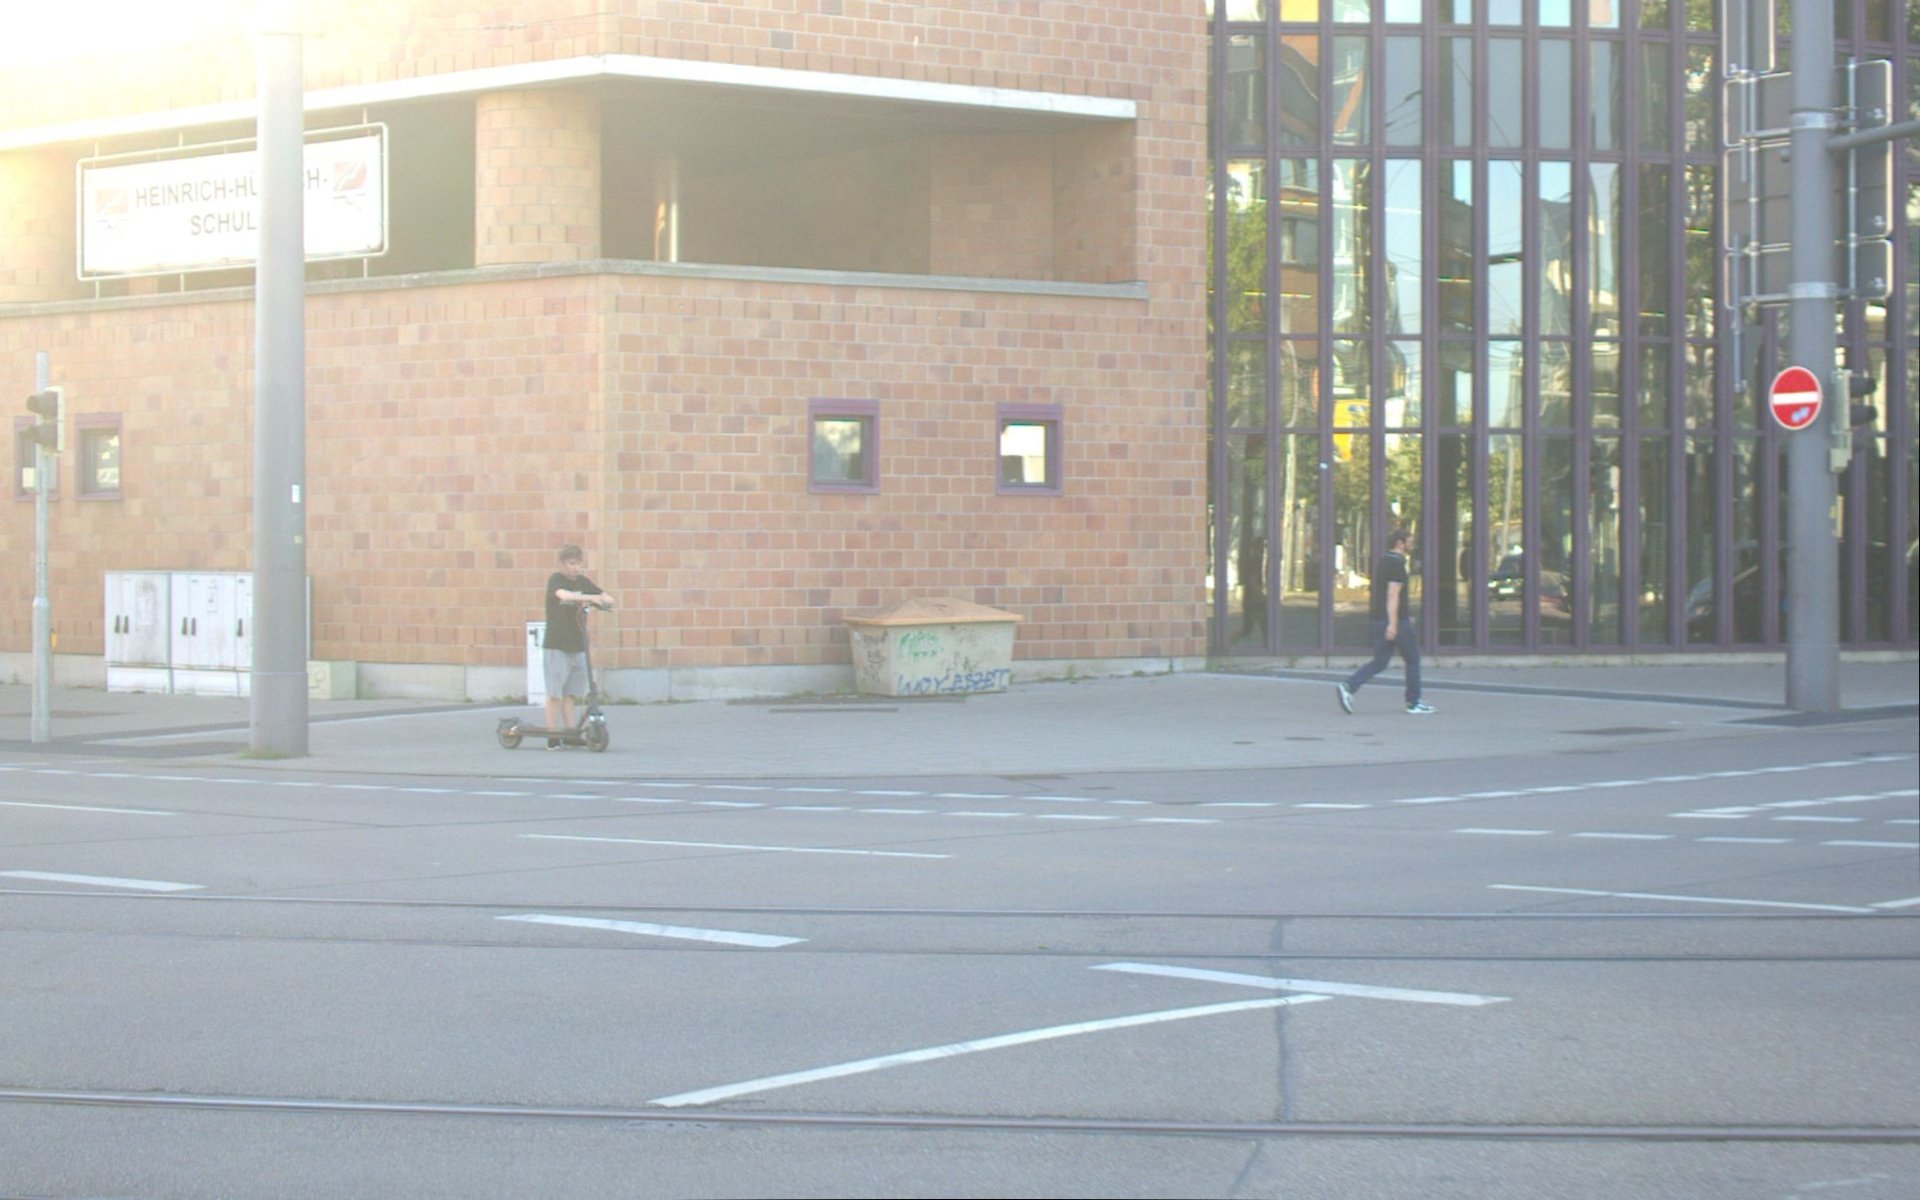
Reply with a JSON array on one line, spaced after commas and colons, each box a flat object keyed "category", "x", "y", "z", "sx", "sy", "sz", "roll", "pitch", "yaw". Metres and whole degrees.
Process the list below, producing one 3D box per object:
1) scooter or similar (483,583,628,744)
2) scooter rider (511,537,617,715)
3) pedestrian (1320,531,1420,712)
[{"category": "scooter or similar", "x": -3.383, "y": 0.518, "z": 28.732, "sx": 1.131, "sy": 1.313, "sz": 0.528, "roll": 0, "pitch": 1, "yaw": 35}, {"category": "scooter rider", "x": -3.302, "y": 0.209, "z": 28.675, "sx": 0.721, "sy": 1.456, "sz": 0.507, "roll": 0, "pitch": 1, "yaw": 35}, {"category": "pedestrian", "x": 3.916, "y": 0.200, "z": 32.876, "sx": 0.821, "sy": 1.710, "sz": 0.664, "roll": 0, "pitch": 1, "yaw": -5}]
